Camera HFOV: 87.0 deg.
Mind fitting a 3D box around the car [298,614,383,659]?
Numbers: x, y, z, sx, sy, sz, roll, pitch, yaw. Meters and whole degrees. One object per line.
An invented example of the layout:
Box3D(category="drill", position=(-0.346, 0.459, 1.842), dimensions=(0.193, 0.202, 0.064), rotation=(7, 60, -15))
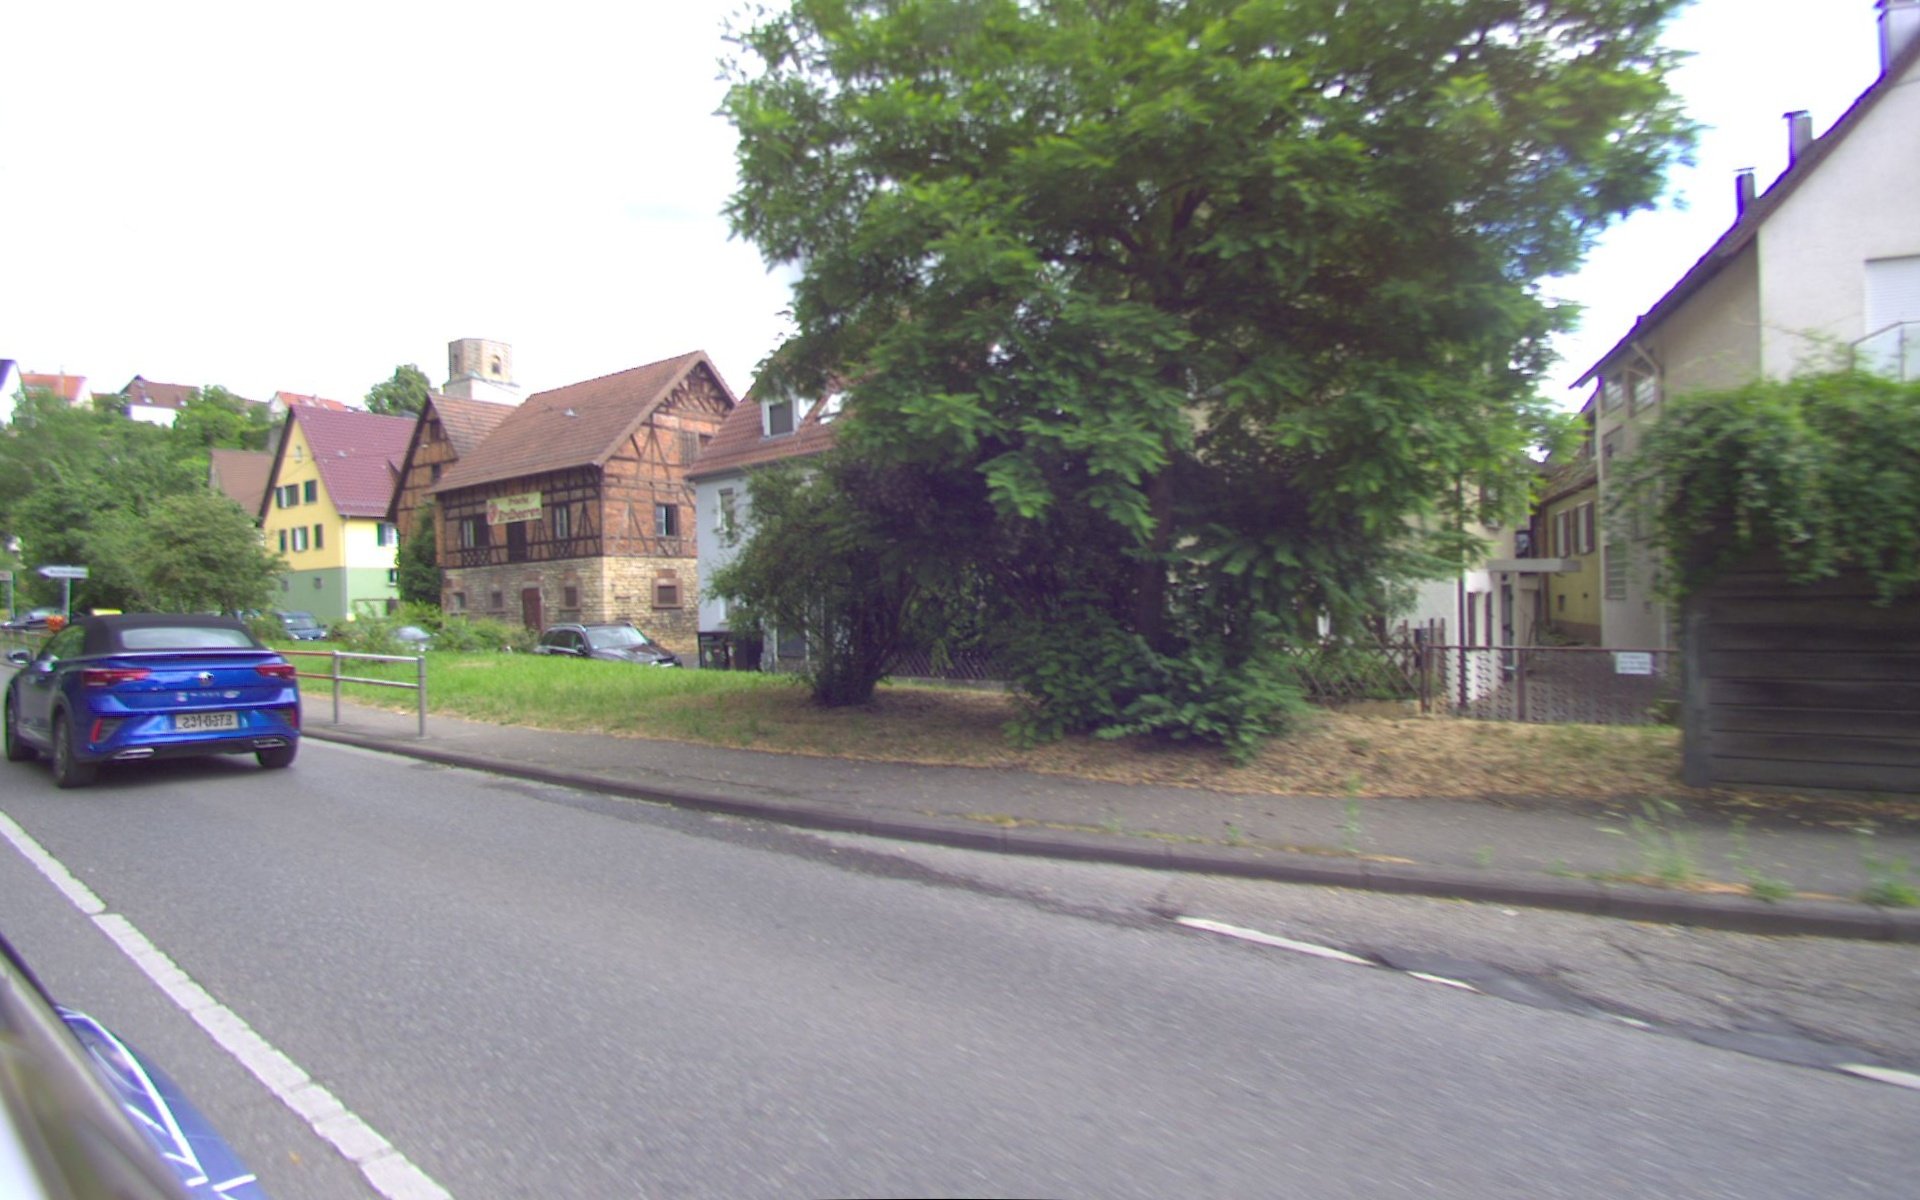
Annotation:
Box3D(category="car", position=(-23.989, 1.370, 39.144), dimensions=(4.000, 1.630, 1.791), rotation=(-1, -2, 43))

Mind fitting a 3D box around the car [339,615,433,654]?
Box3D(category="car", position=(-20.307, 1.185, 35.731), dimensions=(1.970, 1.287, 4.003), rotation=(1, -1, -44))

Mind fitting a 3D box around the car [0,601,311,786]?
Box3D(category="car", position=(-8.160, 0.798, 10.067), dimensions=(4.095, 1.480, 1.699), rotation=(-2, -1, 39))

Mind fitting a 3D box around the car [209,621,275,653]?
Box3D(category="car", position=(-38.495, 1.971, 54.220), dimensions=(4.447, 1.630, 1.972), rotation=(-1, -1, 42))

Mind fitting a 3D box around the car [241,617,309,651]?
Box3D(category="car", position=(-33.490, 1.625, 49.429), dimensions=(4.000, 1.630, 1.927), rotation=(-1, -2, 43))

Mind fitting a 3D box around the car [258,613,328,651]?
Box3D(category="car", position=(-30.398, 1.420, 46.085), dimensions=(4.000, 1.630, 1.791), rotation=(-1, -2, 43))

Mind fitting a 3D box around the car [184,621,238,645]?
Box3D(category="car", position=(-43.666, 1.893, 58.970), dimensions=(4.149, 1.355, 1.628), rotation=(-1, -2, 40))

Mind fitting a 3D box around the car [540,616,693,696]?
Box3D(category="car", position=(-8.153, 1.239, 23.856), dimensions=(1.898, 1.708, 4.003), rotation=(1, -1, -44))
